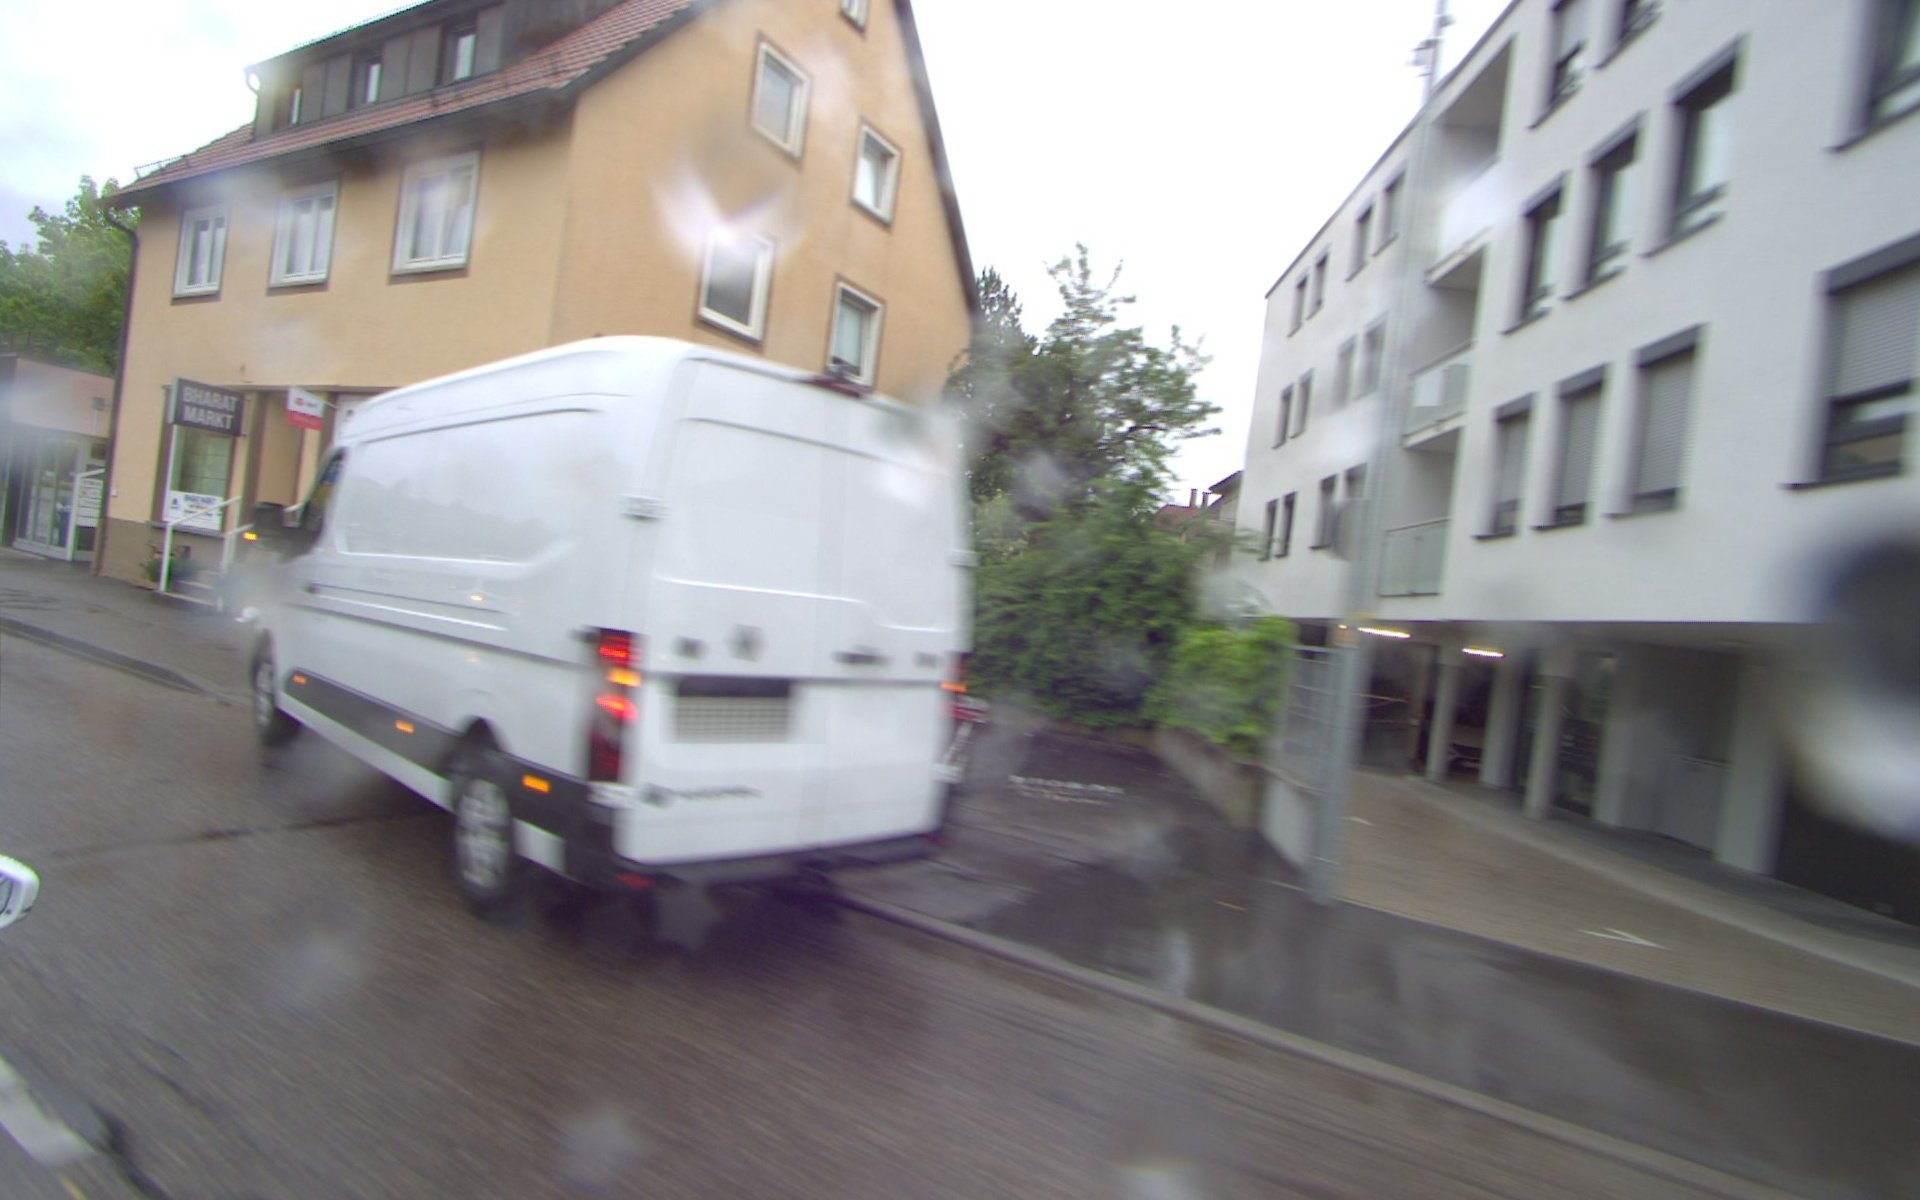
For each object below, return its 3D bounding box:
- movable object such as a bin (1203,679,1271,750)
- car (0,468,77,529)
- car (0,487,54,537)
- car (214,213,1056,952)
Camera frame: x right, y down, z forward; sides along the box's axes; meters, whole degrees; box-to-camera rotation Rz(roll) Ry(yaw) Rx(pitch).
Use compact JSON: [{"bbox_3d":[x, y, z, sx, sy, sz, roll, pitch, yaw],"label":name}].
[{"bbox_3d":[6.805,2.789,24.810,1.047,1.429,1.641,11,0,3],"label":"movable object such as a bin"},{"bbox_3d":[-34.479,-3.792,35.891,1.847,1.894,4.093,8,1,36],"label":"car"},{"bbox_3d":[-32.472,-3.074,32.855,1.719,1.465,3.986,8,1,36],"label":"car"},{"bbox_3d":[-2.721,-0.153,6.425,2.284,2.411,6.542,6,0,-44],"label":"car"}]
